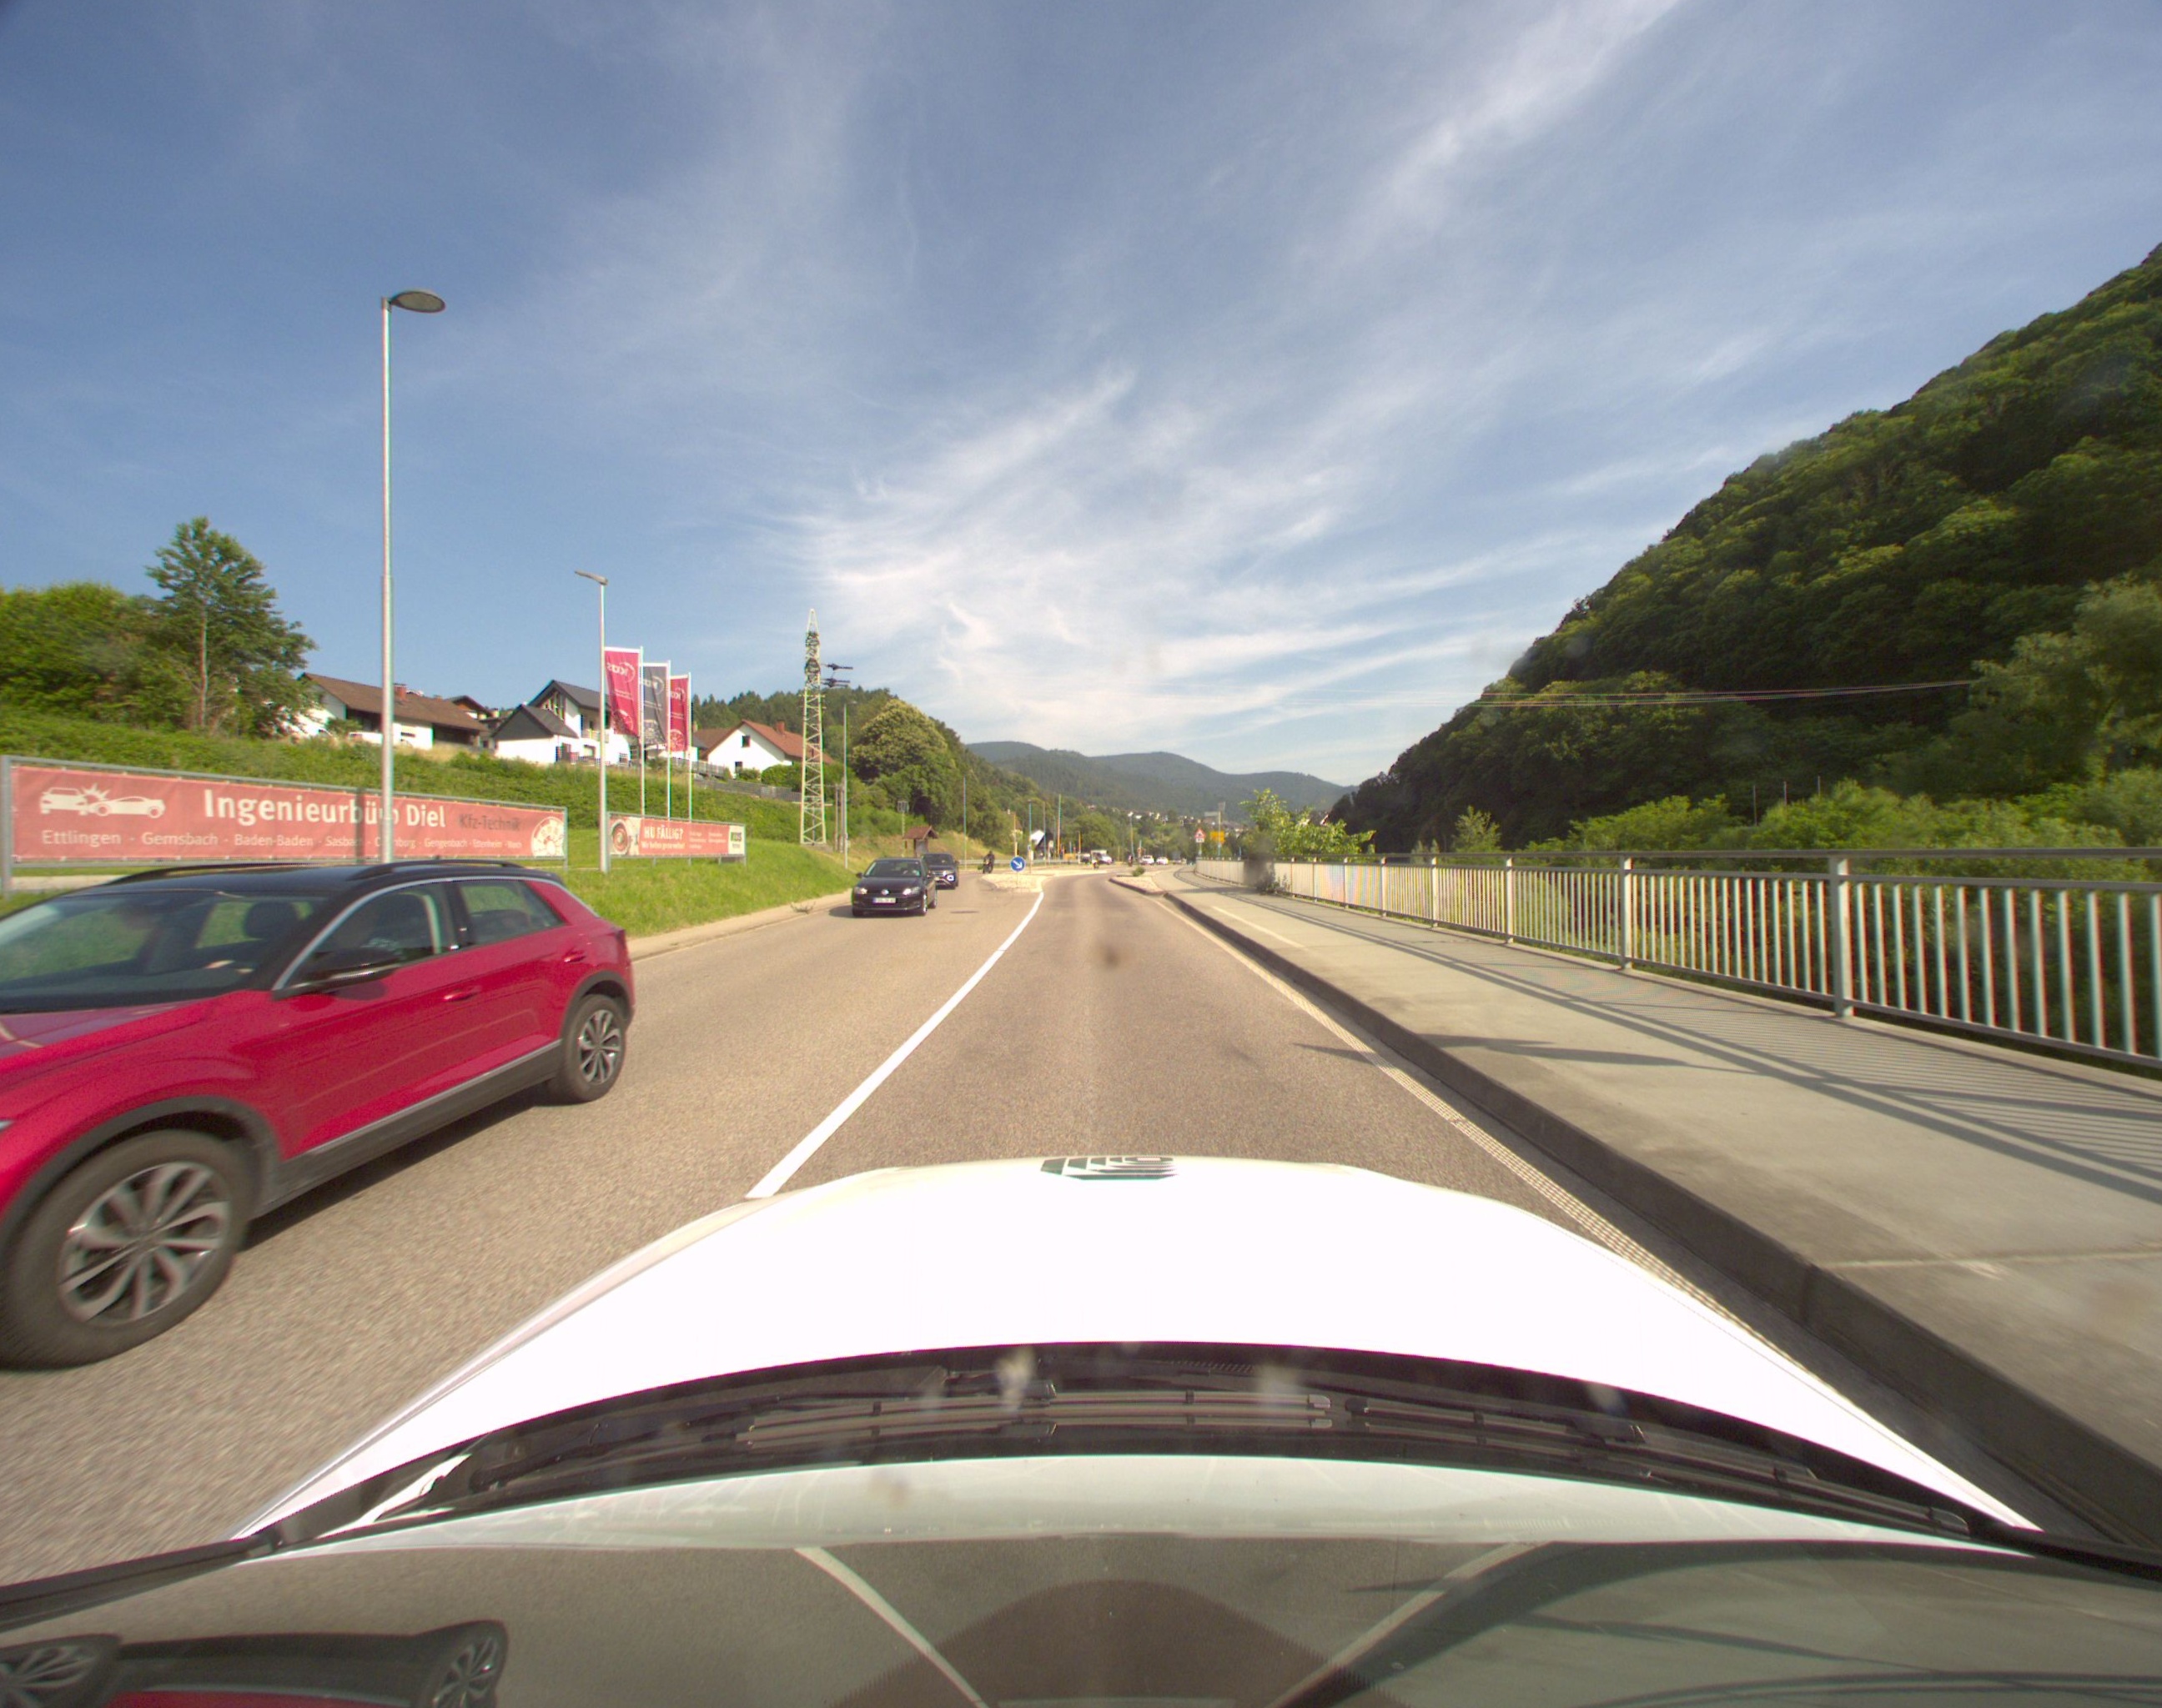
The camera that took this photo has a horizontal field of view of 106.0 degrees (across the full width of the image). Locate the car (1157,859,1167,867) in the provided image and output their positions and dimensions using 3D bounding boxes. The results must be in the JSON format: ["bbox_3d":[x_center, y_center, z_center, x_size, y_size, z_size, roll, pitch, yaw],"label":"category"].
[{"bbox_3d":[15.199,1.616,153.157,1.772,1.400,4.836,1,0,7],"label":"car"}]

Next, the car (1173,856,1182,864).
[{"bbox_3d":[22.105,1.368,186.335,1.747,1.522,4.216,-1,-6,12],"label":"car"}]

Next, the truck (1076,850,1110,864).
[{"bbox_3d":[2.018,0.512,137.622,2.012,2.266,5.929,1,1,-45],"label":"truck"}]

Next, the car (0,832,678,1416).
[{"bbox_3d":[-3.856,0.761,4.019,1.701,1.584,4.156,-2,0,-2],"label":"car"}]

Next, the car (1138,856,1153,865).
[{"bbox_3d":[10.794,1.070,136.632,1.751,1.560,4.016,-1,-1,15],"label":"car"}]

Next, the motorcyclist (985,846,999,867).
[{"bbox_3d":[-6.560,0.174,59.917,0.905,1.519,0.844,-1,0,-11],"label":"motorcyclist"}]

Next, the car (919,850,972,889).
[{"bbox_3d":[-5.743,0.607,34.952,1.771,1.516,4.267,-1,0,-3],"label":"car"}]

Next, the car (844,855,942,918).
[{"bbox_3d":[-4.738,0.765,21.113,1.771,1.407,4.267,-1,0,-3],"label":"car"}]

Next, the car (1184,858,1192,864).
[{"bbox_3d":[28.744,1.925,218.869,1.761,1.416,3.797,-2,-1,11],"label":"car"}]

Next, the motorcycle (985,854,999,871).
[{"bbox_3d":[-6.549,0.614,59.870,0.895,1.183,2.297,-1,1,-10],"label":"motorcycle"}]
